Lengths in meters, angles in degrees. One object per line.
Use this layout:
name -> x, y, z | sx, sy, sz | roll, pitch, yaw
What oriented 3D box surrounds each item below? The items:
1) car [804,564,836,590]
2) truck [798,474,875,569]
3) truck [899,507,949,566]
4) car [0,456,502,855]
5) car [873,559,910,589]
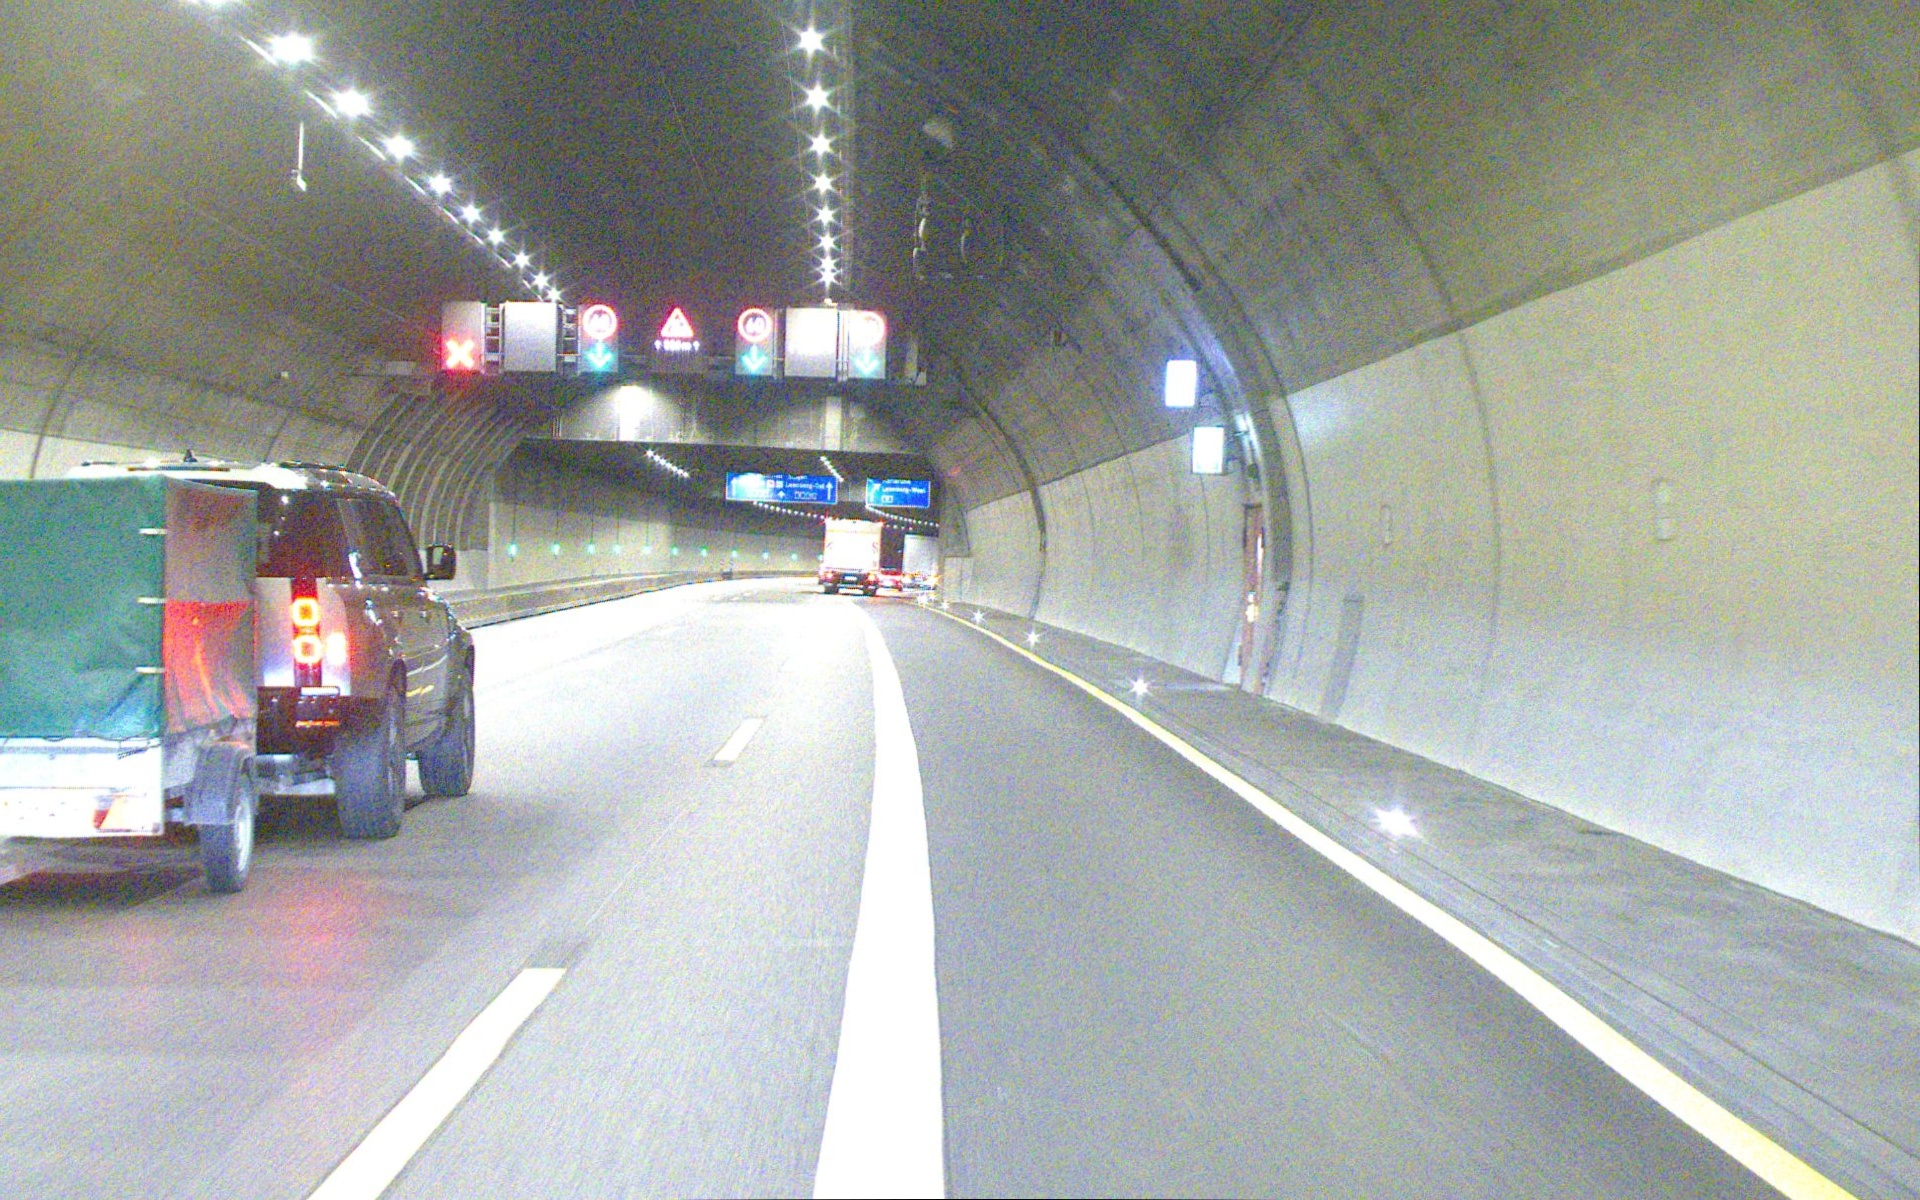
car -> -9.155, -1.504, 224.581 | 1.993, 1.576, 4.001 | 0, 1, -3
truck -> -5.838, -3.708, 161.839 | 3.474, 4.301, 10.953 | 1, 1, -2
truck -> -2.768, -4.825, 259.869 | 3.474, 4.301, 10.953 | -1, 1, -2
car -> -3.888, 0.212, 19.339 | 1.993, 1.888, 5.454 | 1, 1, -1
car -> -4.397, -1.702, 222.043 | 1.994, 1.888, 5.532 | 0, 1, 3
